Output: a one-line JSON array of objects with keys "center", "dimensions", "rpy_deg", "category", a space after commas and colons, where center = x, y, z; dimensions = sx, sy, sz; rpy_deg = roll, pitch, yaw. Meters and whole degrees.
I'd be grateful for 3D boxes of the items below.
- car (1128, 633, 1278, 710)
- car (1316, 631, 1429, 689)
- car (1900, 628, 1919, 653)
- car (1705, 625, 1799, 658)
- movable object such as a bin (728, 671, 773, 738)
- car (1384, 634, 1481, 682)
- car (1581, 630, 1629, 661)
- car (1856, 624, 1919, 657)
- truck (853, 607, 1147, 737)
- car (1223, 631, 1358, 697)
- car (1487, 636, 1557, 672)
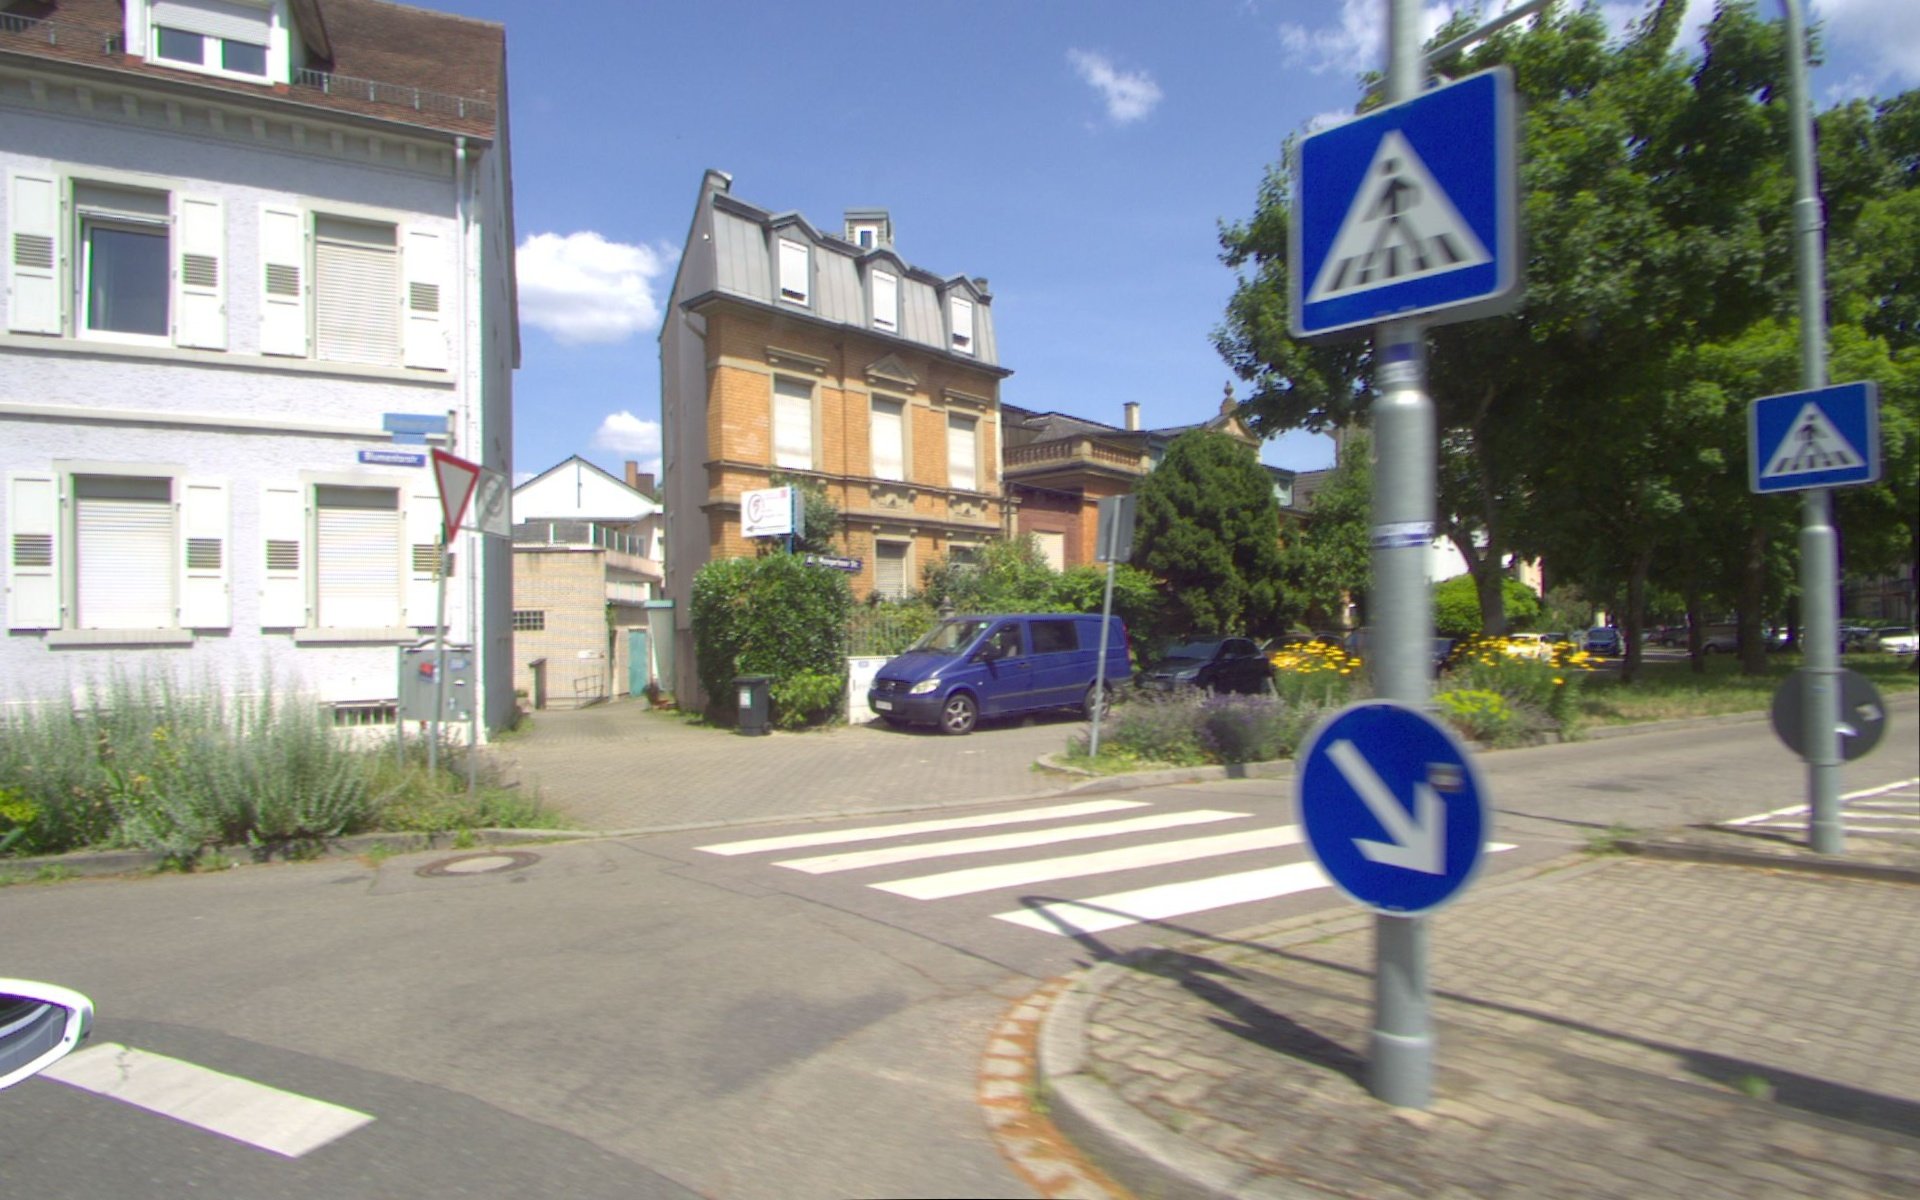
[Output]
[{"center": [5.509, 1.522, 22.406], "dimensions": [1.695, 1.545, 3.823], "rpy_deg": [0, -2, 41], "category": "car"}, {"center": [12.358, 1.739, 29.885], "dimensions": [1.821, 1.578, 3.965], "rpy_deg": [-2, -2, 43], "category": "car"}, {"center": [63.355, 2.627, 65.378], "dimensions": [1.971, 1.638, 4.166], "rpy_deg": [-2, -2, 31], "category": "car"}, {"center": [47.608, 2.468, 60.279], "dimensions": [1.896, 1.883, 3.983], "rpy_deg": [0, -2, -28], "category": "car"}, {"center": [-3.218, 1.607, 15.444], "dimensions": [0.622, 0.973, 0.617], "rpy_deg": [-1, -1, -7], "category": "movable object such as a bin"}, {"center": [15.963, 1.920, 33.752], "dimensions": [1.821, 1.475, 3.965], "rpy_deg": [-2, -2, 43], "category": "car"}, {"center": [38.392, 2.692, 59.563], "dimensions": [1.820, 1.756, 3.967], "rpy_deg": [-2, -3, 42], "category": "car"}, {"center": [48.929, 2.100, 52.429], "dimensions": [1.969, 1.638, 4.170], "rpy_deg": [-2, -2, 27], "category": "car"}, {"center": [0.834, 1.145, 17.450], "dimensions": [5.223, 1.951, 1.900], "rpy_deg": [1, -1, -40], "category": "truck"}, {"center": [8.662, 1.605, 26.075], "dimensions": [1.821, 1.578, 3.965], "rpy_deg": [-2, -2, 43], "category": "car"}, {"center": [24.210, 2.280, 43.075], "dimensions": [1.820, 1.456, 3.967], "rpy_deg": [-2, -3, 42], "category": "car"}]
